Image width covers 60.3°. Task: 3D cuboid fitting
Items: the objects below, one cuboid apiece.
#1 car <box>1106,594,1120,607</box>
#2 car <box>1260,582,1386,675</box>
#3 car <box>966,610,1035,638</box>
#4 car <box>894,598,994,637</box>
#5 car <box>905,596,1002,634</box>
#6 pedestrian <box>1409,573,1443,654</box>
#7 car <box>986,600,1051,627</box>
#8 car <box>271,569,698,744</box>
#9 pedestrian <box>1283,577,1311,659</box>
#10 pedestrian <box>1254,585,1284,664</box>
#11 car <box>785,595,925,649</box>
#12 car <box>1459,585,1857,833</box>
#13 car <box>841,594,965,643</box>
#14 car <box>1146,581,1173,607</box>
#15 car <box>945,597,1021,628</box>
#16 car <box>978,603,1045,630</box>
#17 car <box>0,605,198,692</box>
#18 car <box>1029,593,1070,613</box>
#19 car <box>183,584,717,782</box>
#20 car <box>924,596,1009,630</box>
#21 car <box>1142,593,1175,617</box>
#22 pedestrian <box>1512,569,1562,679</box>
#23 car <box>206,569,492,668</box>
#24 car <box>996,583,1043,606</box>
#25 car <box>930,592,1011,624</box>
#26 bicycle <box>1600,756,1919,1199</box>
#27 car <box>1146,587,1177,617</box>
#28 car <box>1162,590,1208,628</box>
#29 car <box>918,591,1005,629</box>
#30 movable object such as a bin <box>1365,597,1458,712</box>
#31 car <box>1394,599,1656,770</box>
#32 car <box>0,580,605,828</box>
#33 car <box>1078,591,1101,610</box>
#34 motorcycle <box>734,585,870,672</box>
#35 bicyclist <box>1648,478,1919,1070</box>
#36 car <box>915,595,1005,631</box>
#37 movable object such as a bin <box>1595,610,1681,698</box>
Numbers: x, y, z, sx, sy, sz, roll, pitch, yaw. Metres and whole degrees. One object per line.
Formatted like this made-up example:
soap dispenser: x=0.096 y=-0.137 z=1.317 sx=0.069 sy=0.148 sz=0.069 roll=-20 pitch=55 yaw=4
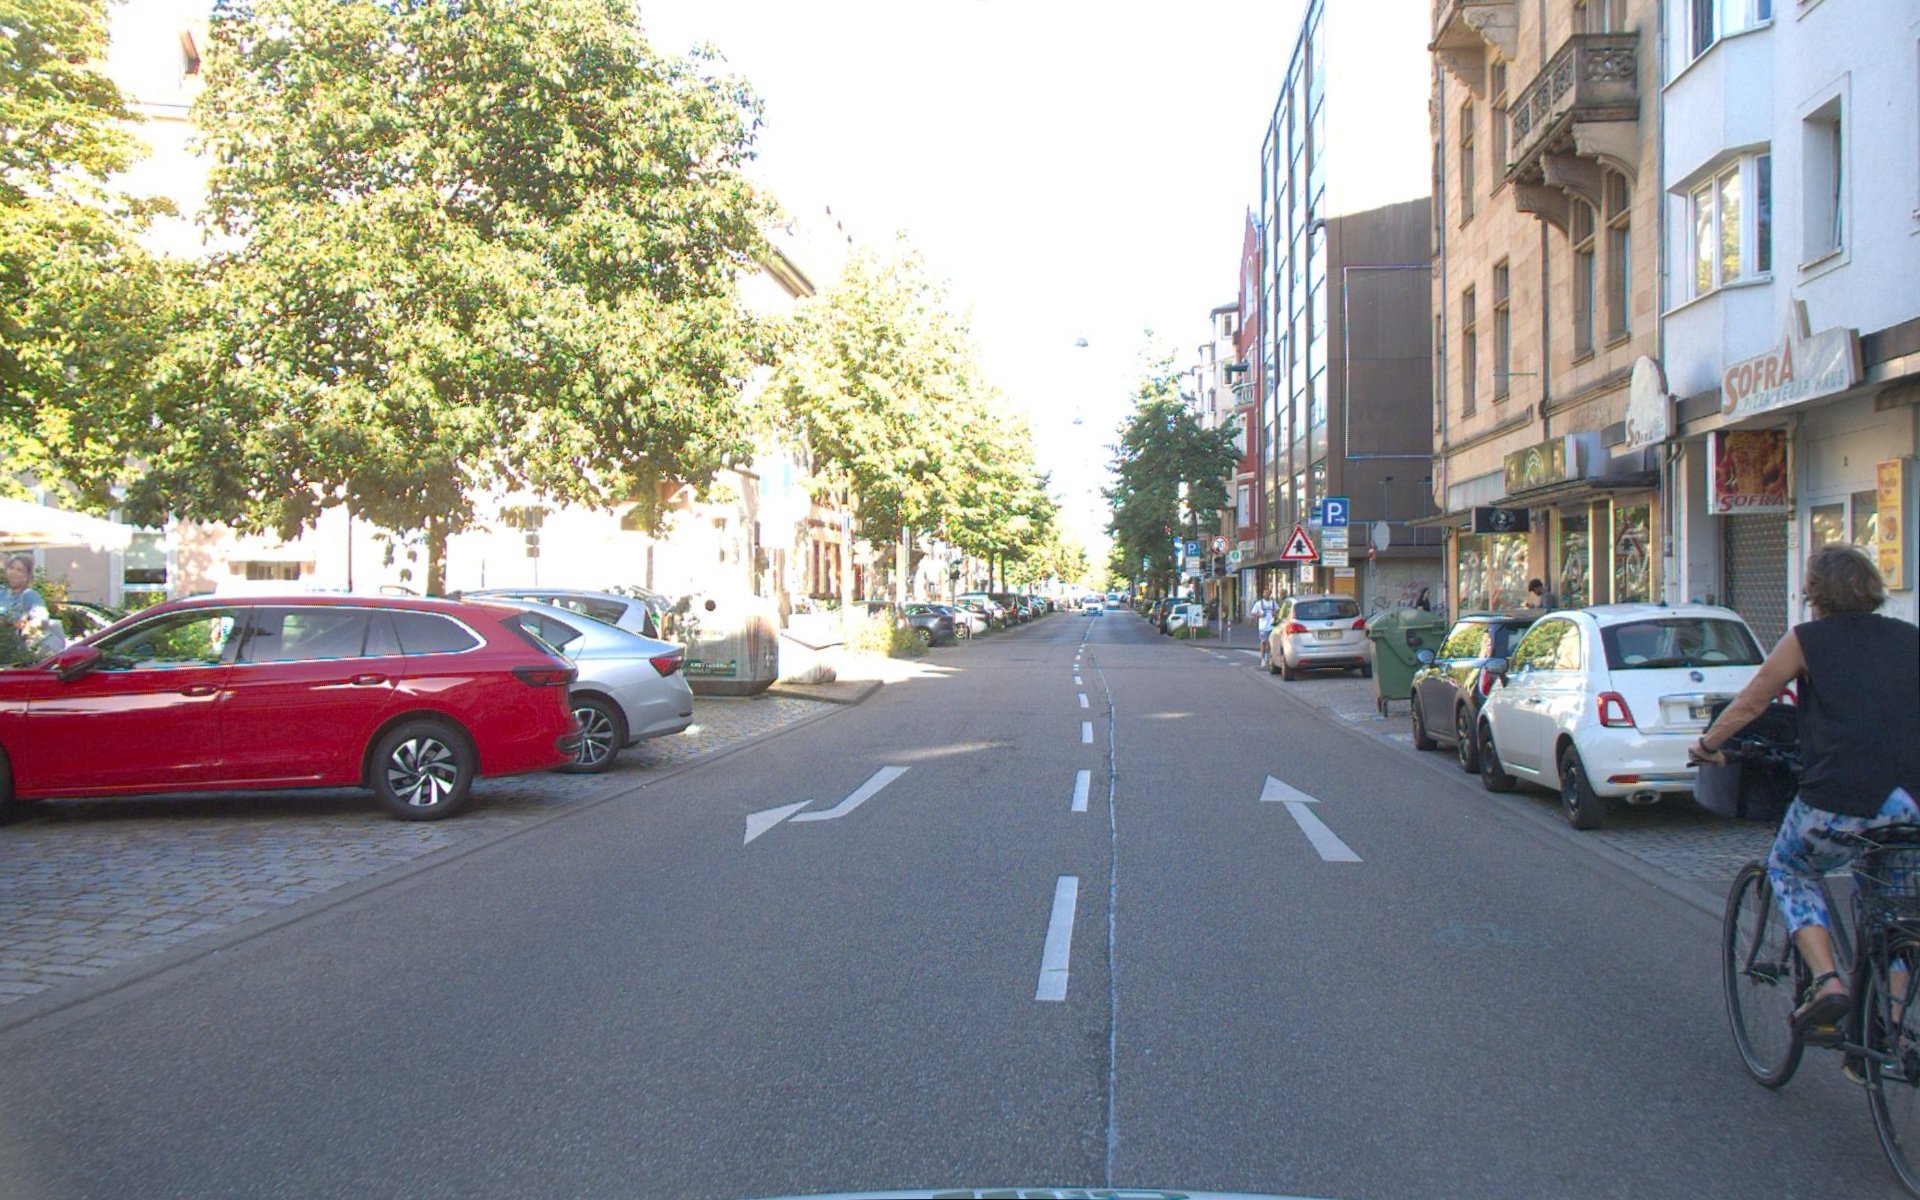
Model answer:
car: x=19.749 y=0.106 z=213.411 sx=1.831 sy=1.583 sz=4.002 roll=1 pitch=-1 yaw=6
car: x=7.258 y=0.570 z=33.509 sx=1.859 sy=1.704 sz=4.827 roll=1 pitch=-1 yaw=5
car: x=2.485 y=1.439 z=100.207 sx=3.902 sy=1.534 sz=2.002 roll=2 pitch=0 yaw=9
car: x=-0.637 y=0.721 z=68.111 sx=3.902 sy=1.534 sz=2.001 roll=1 pitch=0 yaw=6
car: x=-0.256 y=0.649 z=70.394 sx=3.902 sy=1.534 sz=2.001 roll=1 pitch=0 yaw=6
pedestrian: x=11.095 y=0.315 z=39.379 sx=0.633 sy=1.904 sz=0.626 roll=0 pitch=-1 yaw=28
car: x=3.746 y=0.851 z=105.855 sx=3.902 sy=1.534 sz=2.002 roll=2 pitch=0 yaw=9
car: x=-4.859 y=0.572 z=16.938 sx=3.939 sy=1.614 sz=1.815 roll=2 pitch=-1 yaw=-27
pedestrian: x=7.530 y=0.402 z=36.965 sx=0.501 sy=1.811 sz=0.612 roll=1 pitch=-1 yaw=3
pedestrian: x=7.025 y=0.554 z=37.650 sx=0.601 sy=1.765 sz=0.634 roll=1 pitch=-1 yaw=6
car: x=-3.141 y=0.649 z=50.033 sx=3.902 sy=1.534 sz=2.001 roll=1 pitch=0 yaw=6
car: x=5.063 y=0.738 z=12.535 sx=1.682 sy=1.541 sz=3.584 roll=-3 pitch=-1 yaw=5
car: x=-1.878 y=0.607 z=55.407 sx=3.902 sy=1.534 sz=2.001 roll=1 pitch=0 yaw=6
car: x=16.164 y=-0.481 z=134.148 sx=1.951 sy=2.049 sz=4.002 roll=0 pitch=0 yaw=5
car: x=1.270 y=0.669 z=88.687 sx=3.903 sy=1.534 sz=2.001 roll=1 pitch=0 yaw=5
car: x=3.248 y=1.038 z=103.430 sx=3.902 sy=1.534 sz=2.002 roll=2 pitch=0 yaw=9
car: x=-16.857 y=0.915 z=31.660 sx=3.846 sy=1.591 sz=1.971 roll=1 pitch=-1 yaw=-18
car: x=9.223 y=0.280 z=170.354 sx=3.902 sy=2.049 sz=2.001 roll=0 pitch=0 yaw=15
car: x=-4.365 y=0.687 z=14.265 sx=4.168 sy=1.503 sz=1.722 roll=2 pitch=-1 yaw=-26
car: x=0.319 y=0.636 z=80.187 sx=3.902 sy=1.534 sz=2.001 roll=1 pitch=0 yaw=6
car: x=12.802 y=0.309 z=106.891 sx=1.951 sy=1.478 sz=4.002 roll=0 pitch=0 yaw=5
pedestrian: x=9.806 y=0.405 z=28.122 sx=0.595 sy=1.820 sz=0.684 roll=-2 pitch=-1 yaw=4
car: x=-12.165 y=0.391 z=33.140 sx=5.189 sy=1.831 sz=2.149 roll=1 pitch=-1 yaw=-22
car: x=5.401 y=-0.485 z=149.981 sx=3.902 sy=2.049 sz=2.001 roll=0 pitch=0 yaw=15
car: x=0.563 y=0.400 z=84.110 sx=3.902 sy=1.534 sz=1.896 roll=1 pitch=0 yaw=6
bicycle: x=2.542 y=1.043 z=4.633 sx=0.639 sy=0.975 sz=2.699 roll=1 pitch=-1 yaw=4
car: x=14.269 y=0.122 z=117.427 sx=1.951 sy=2.049 sz=4.002 roll=-1 pitch=0 yaw=5
car: x=10.136 y=0.421 z=74.640 sx=1.951 sy=1.646 sz=4.013 roll=1 pitch=-1 yaw=7
car: x=0.097 y=0.479 z=77.916 sx=3.902 sy=1.703 sz=2.090 roll=1 pitch=0 yaw=6
movable object such as a bin: x=6.255 y=0.734 z=22.993 sx=1.050 sy=1.482 sz=1.494 roll=-3 pitch=0 yaw=10
car: x=5.469 y=0.769 z=16.466 sx=1.642 sy=1.473 sz=3.787 roll=1 pitch=-1 yaw=6
car: x=-4.951 y=0.665 z=11.328 sx=4.761 sy=1.514 sz=1.755 roll=1 pitch=-1 yaw=-19
car: x=11.402 y=0.094 z=145.231 sx=1.951 sy=1.583 sz=4.002 roll=1 pitch=-1 yaw=6
motorcycle: x=-3.061 y=0.557 z=32.008 sx=2.422 sy=1.632 sz=0.999 roll=-1 pitch=0 yaw=24
bicyclist: x=2.540 y=0.445 z=4.686 sx=0.769 sy=1.478 sz=1.096 roll=1 pitch=-1 yaw=4
car: x=0.034 y=0.589 z=75.424 sx=3.902 sy=1.534 sz=2.001 roll=1 pitch=0 yaw=6
movable object such as a bin: x=9.119 y=0.717 z=22.267 sx=0.858 sy=1.143 sz=0.829 roll=1 pitch=-1 yaw=5
